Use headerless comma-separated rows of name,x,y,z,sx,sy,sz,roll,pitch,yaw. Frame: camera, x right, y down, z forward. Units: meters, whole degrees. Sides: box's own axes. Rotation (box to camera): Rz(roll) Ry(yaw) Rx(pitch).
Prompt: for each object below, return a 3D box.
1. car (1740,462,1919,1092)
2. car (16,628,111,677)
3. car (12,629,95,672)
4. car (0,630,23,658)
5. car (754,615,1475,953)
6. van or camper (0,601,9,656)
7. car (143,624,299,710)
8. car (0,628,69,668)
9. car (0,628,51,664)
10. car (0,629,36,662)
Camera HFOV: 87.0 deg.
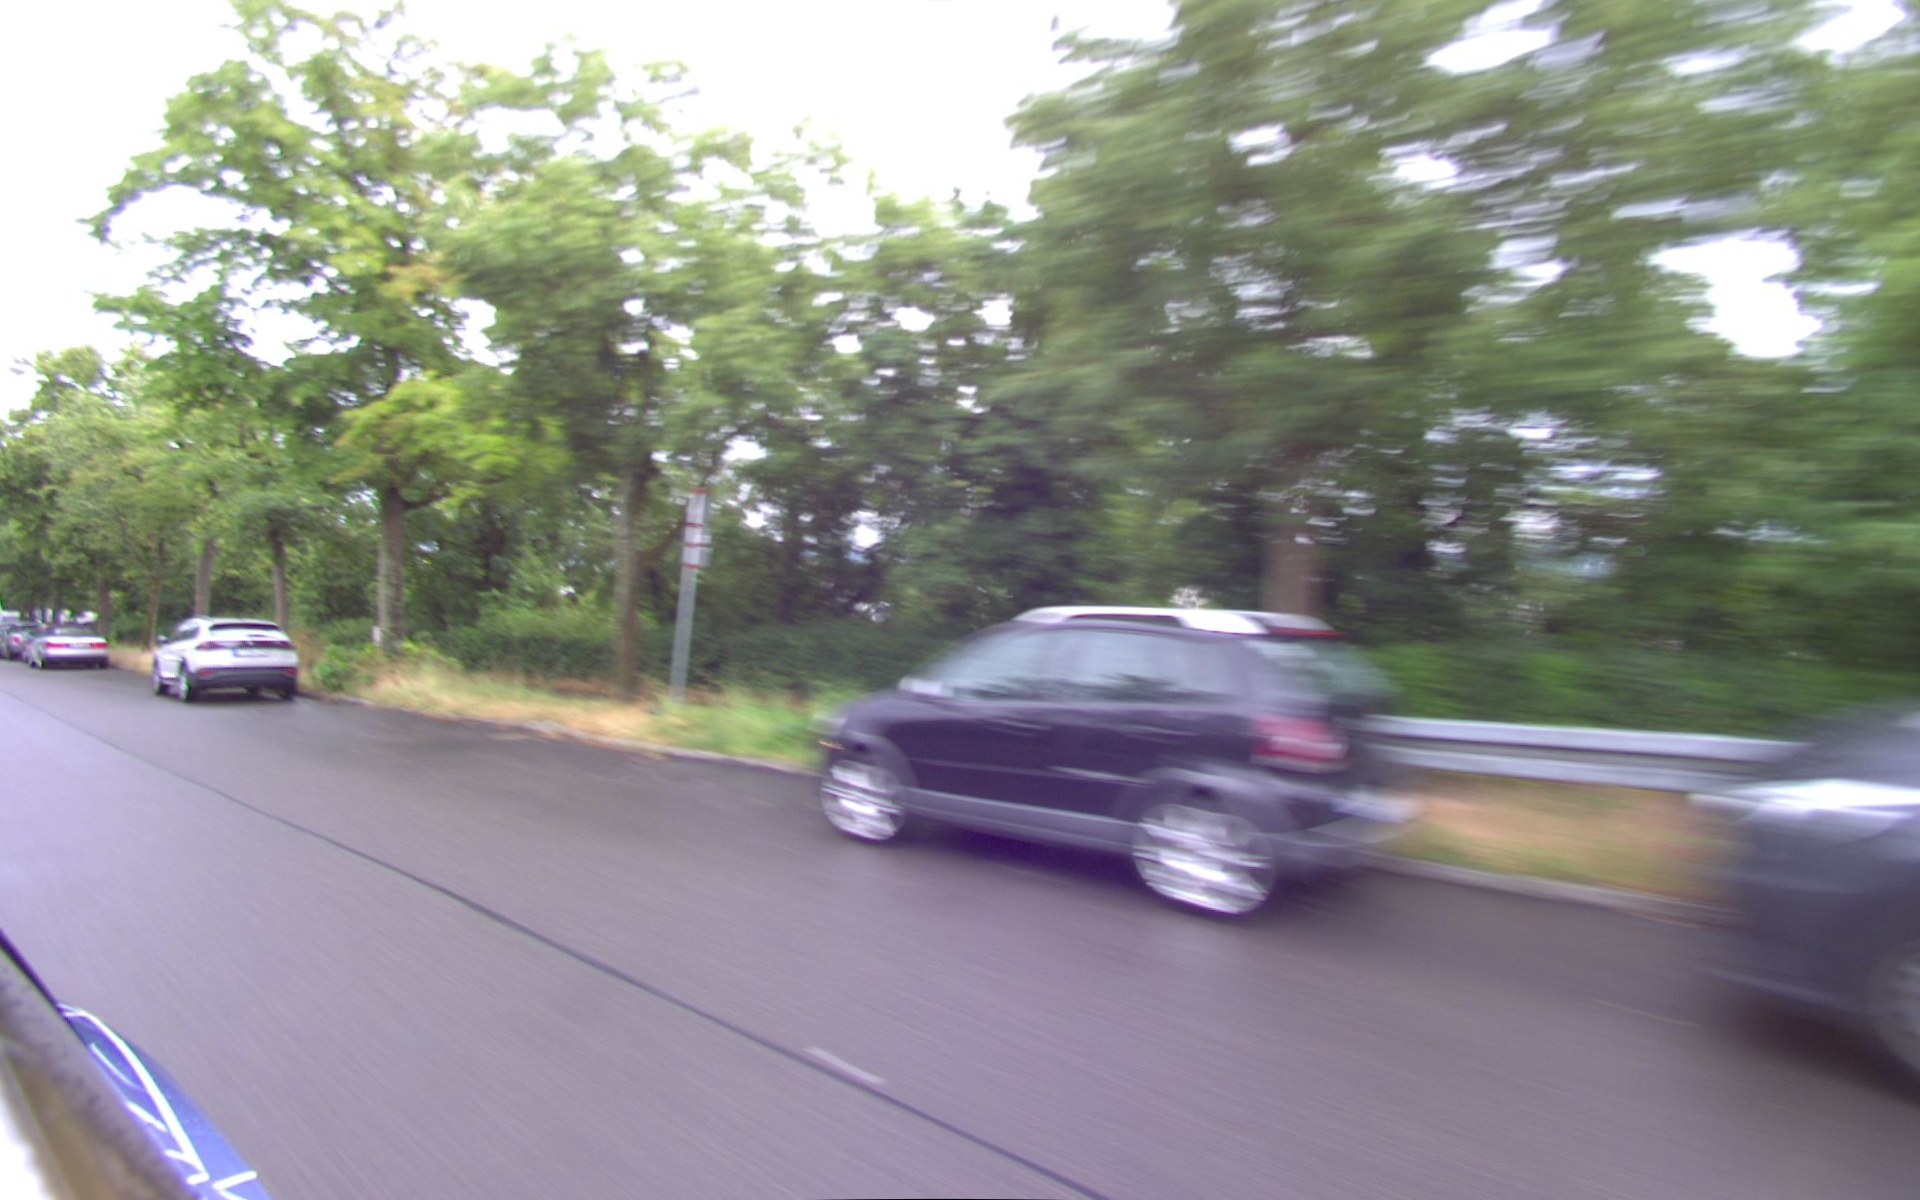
car,5.165,0.513,2.174,5.380,1.833,2.061,-1,-2,42
car,-28.481,1.631,32.120,4.418,1.413,1.736,-1,-2,42
car,-32.066,1.746,35.753,3.997,1.372,1.579,-1,-2,39
car,-47.624,2.173,49.700,5.355,1.319,1.971,-3,-5,43
car,0.730,0.835,6.442,4.253,1.448,1.779,-1,-2,41
van or camper,-55.789,1.560,57.138,6.560,3.050,2.478,-1,-2,42
car,-14.184,1.196,19.325,4.257,1.448,1.670,-1,-2,44
car,-36.074,1.826,39.171,4.715,1.416,1.971,-1,-3,44
car,-39.705,1.908,42.458,4.715,1.416,1.971,-1,-3,44
car,-43.179,2.060,45.682,1.970,1.416,4.717,3,-4,-44
